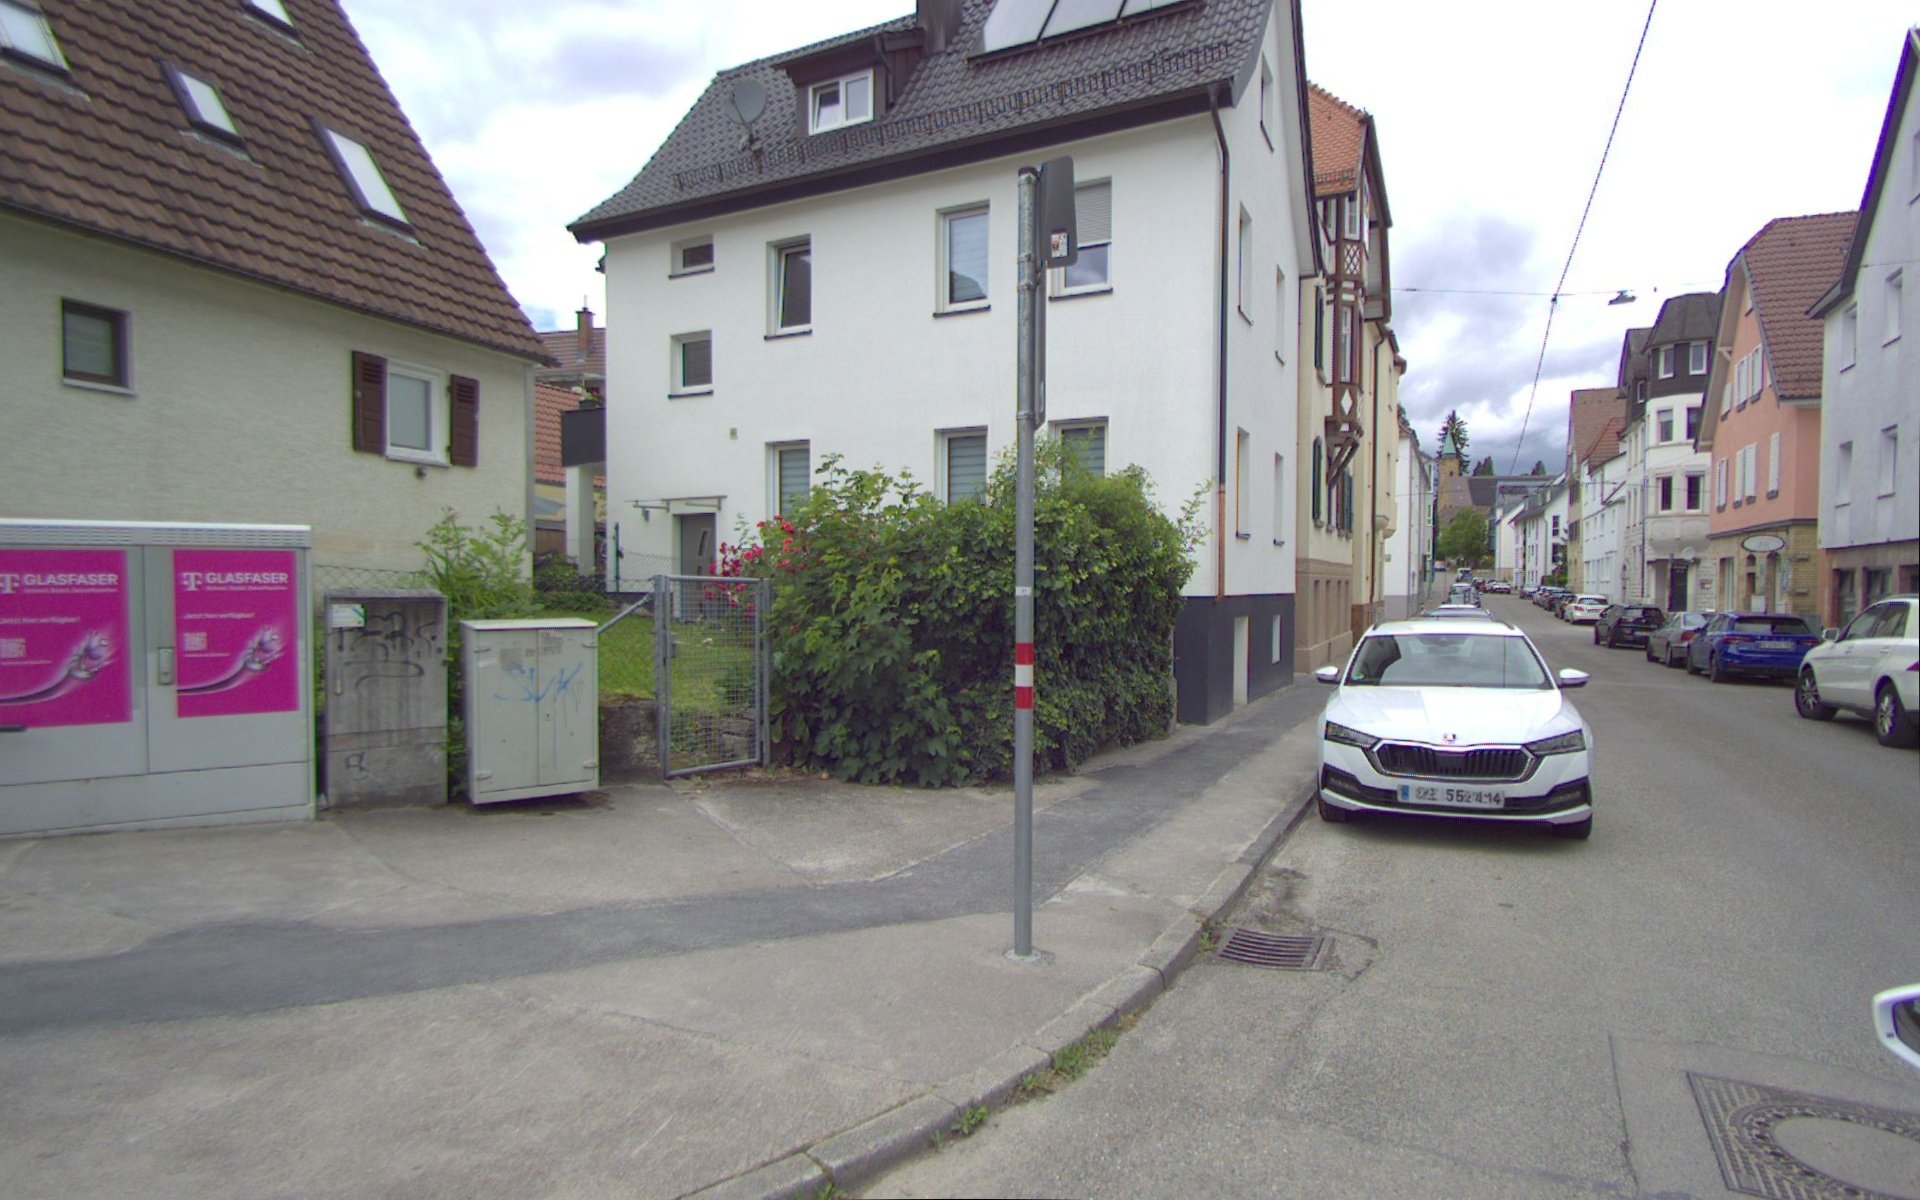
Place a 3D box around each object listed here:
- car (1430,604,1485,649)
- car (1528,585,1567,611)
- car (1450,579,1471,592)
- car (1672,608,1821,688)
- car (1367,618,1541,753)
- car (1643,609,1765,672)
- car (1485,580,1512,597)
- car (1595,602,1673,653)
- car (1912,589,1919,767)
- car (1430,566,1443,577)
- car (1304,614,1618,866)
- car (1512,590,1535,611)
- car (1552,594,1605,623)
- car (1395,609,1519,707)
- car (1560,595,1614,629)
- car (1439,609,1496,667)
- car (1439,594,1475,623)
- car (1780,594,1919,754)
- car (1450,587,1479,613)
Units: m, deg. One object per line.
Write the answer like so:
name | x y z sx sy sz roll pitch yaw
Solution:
car | 16.694 0.867 33.723 1.562 1.441 3.397 -1 -1 27
car | 39.209 -0.154 67.097 1.700 1.596 3.831 2 2 23
car | 66.062 -1.882 132.732 1.857 1.626 3.715 3 2 17
car | 16.516 0.932 21.286 1.747 1.495 3.777 1 0 27
car | 6.490 0.988 13.279 1.741 1.436 4.167 -1 -1 26
car | 18.912 0.975 25.721 1.721 1.409 4.027 2 1 25
car | 56.981 -1.213 106.328 1.730 1.689 4.000 3 3 18
car | 23.706 0.923 35.456 1.686 1.570 3.798 3 2 25
car | 9.701 0.790 7.923 1.911 1.803 4.364 2 0 26
car | 85.409 -5.122 179.970 1.791 1.950 3.748 3 3 21
car | 4.021 0.890 8.365 1.765 1.480 4.292 -1 -1 24
car | 49.706 0.050 88.664 1.554 1.782 3.206 2 -1 27
car | 35.471 0.463 57.666 1.923 1.595 3.998 2 1 22
car | 8.850 0.954 17.904 1.742 1.515 3.977 -2 -1 27
car | 33.201 0.599 53.258 1.737 1.546 3.900 2 3 22
car | 13.557 0.966 26.889 1.263 1.377 3.800 -1 0 26
car | 27.877 0.435 56.381 1.648 1.484 3.995 3 2 26
car | 12.064 0.803 12.467 1.903 1.735 4.372 1 1 26
car | 32.177 -0.034 64.108 1.516 1.536 3.374 3 2 26
